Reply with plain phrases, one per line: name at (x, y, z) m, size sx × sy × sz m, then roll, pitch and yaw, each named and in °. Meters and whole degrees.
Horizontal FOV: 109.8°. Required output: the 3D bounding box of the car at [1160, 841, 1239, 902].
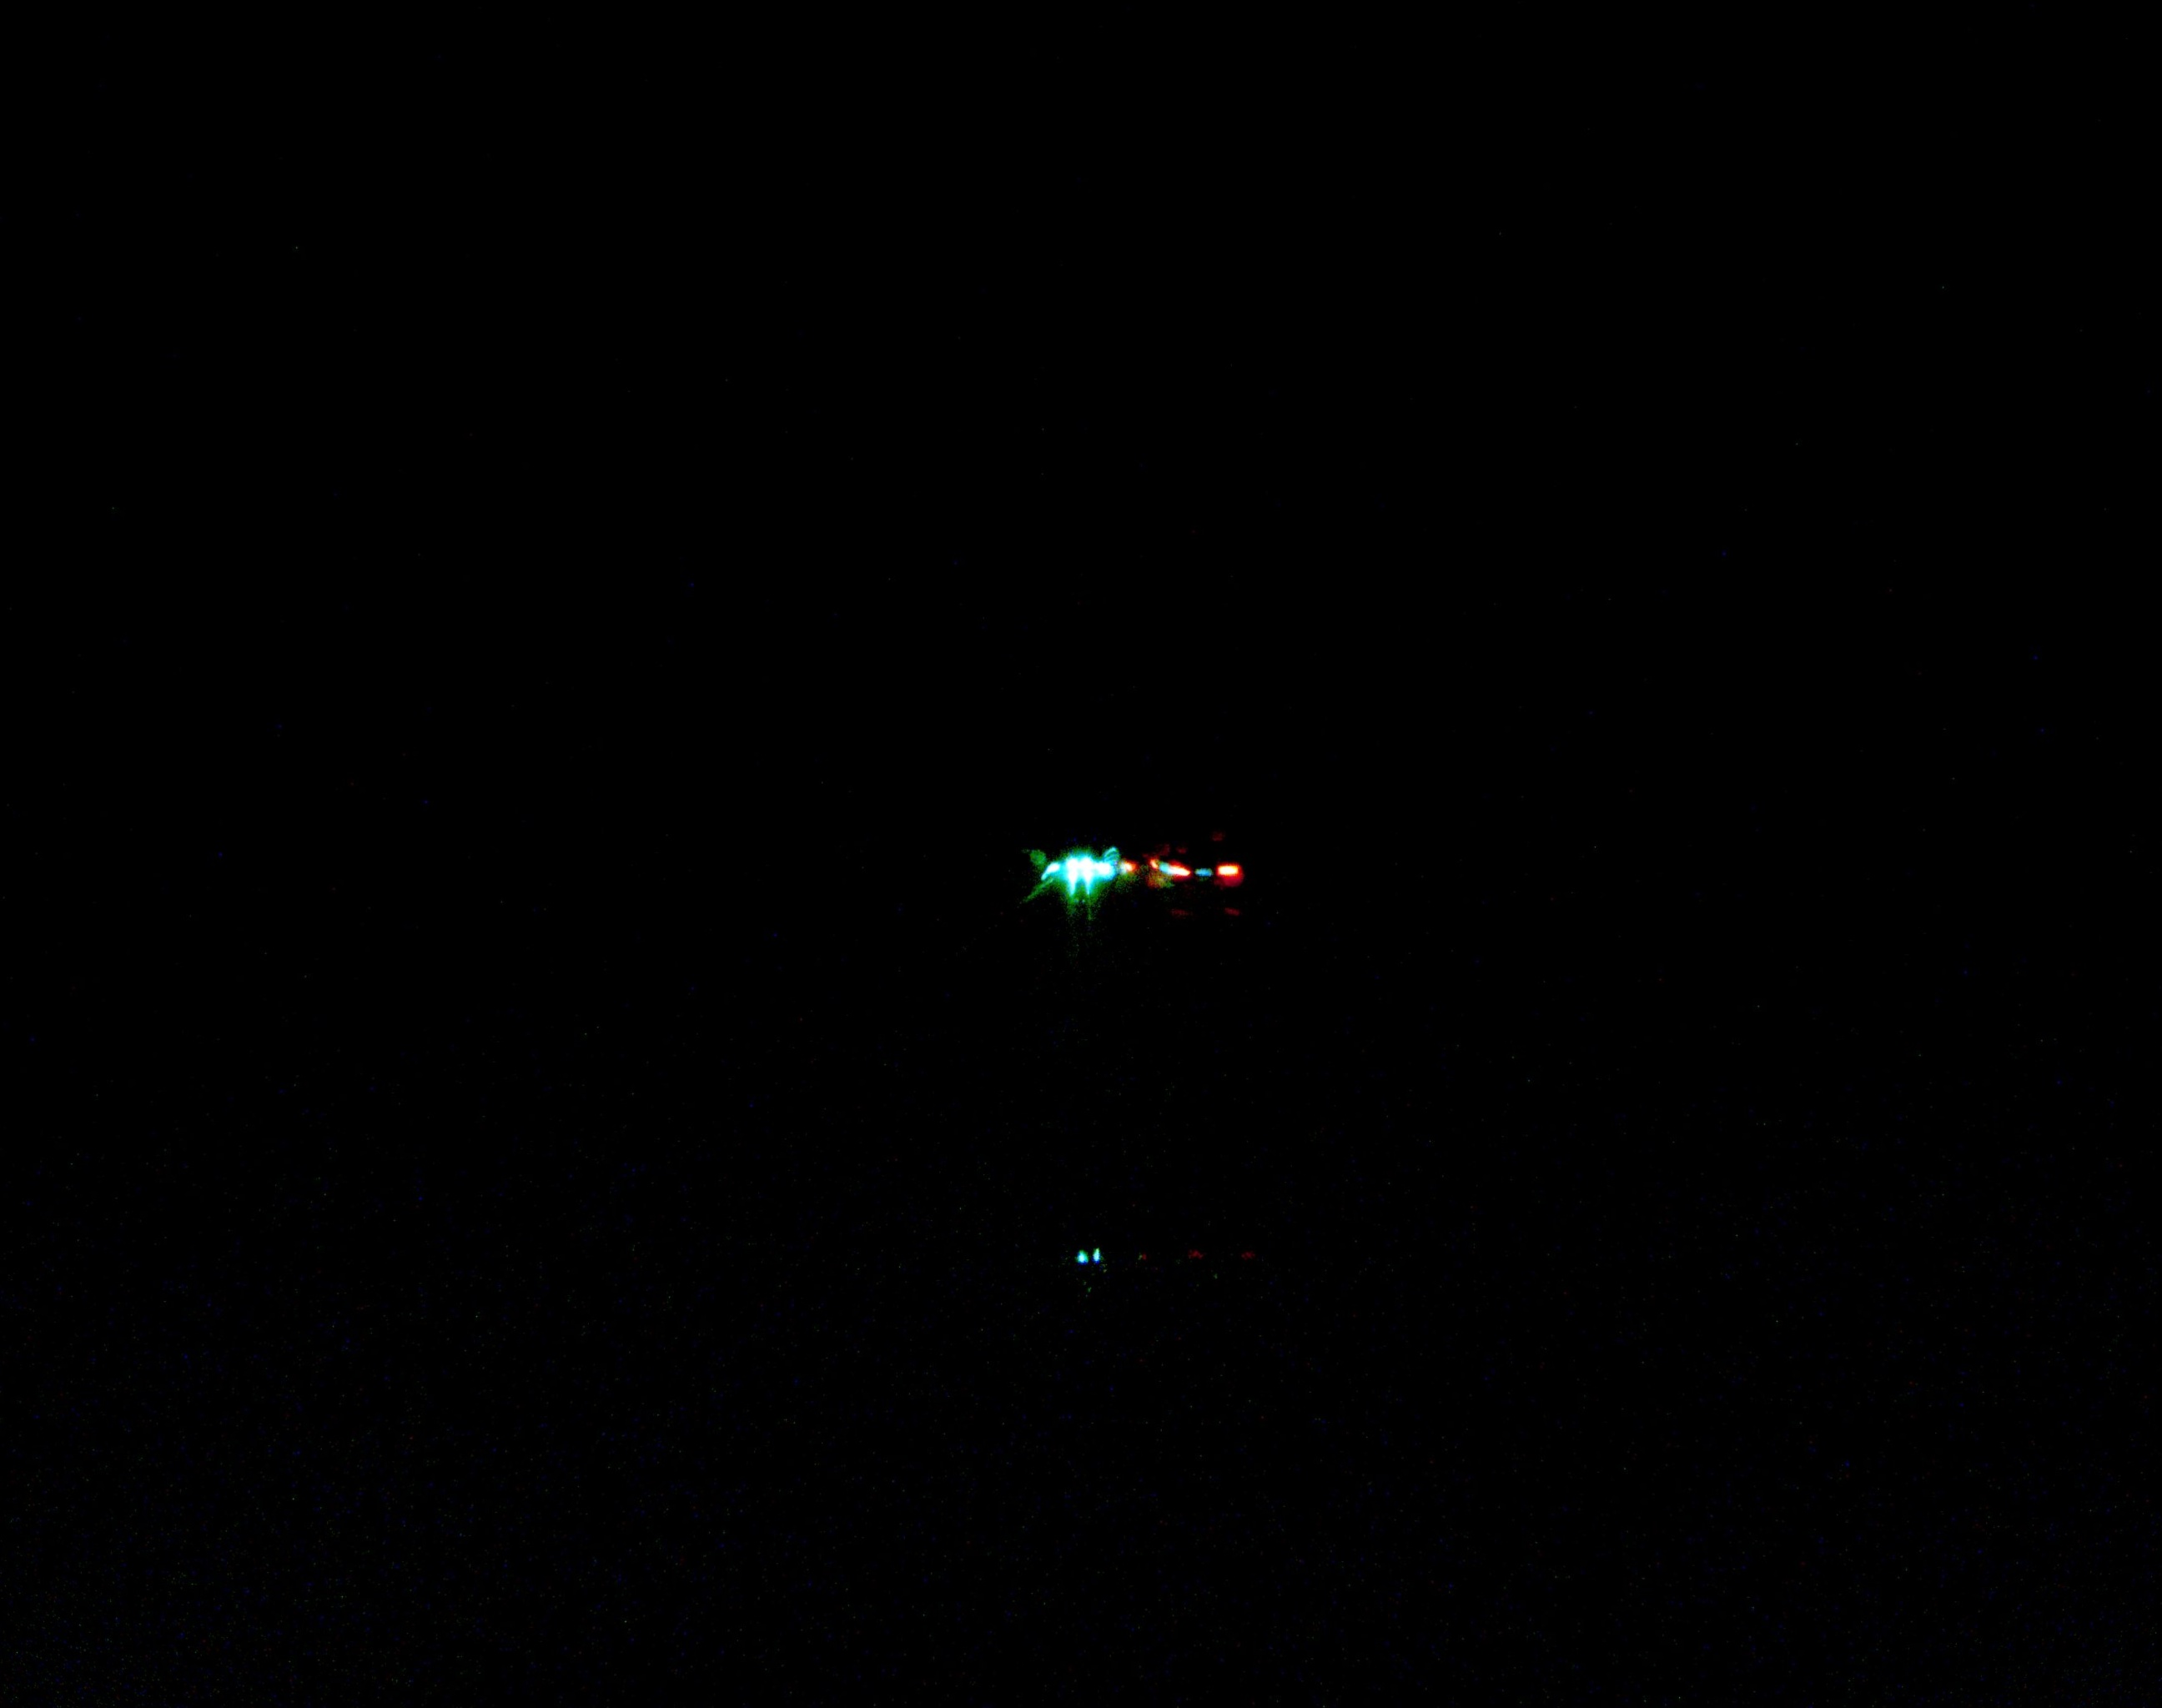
car at (3.870, 0.522, 25.519) m, size 1.998 × 1.782 × 4.246 m, roll -2°, pitch 0°, yaw 1°

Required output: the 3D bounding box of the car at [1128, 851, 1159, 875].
car at (4.183, 0.601, 51.289) m, size 1.848 × 1.471 × 4.249 m, roll -2°, pitch 0°, yaw 2°

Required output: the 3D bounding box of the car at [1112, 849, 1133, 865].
car at (4.336, 0.297, 79.495) m, size 1.998 × 1.467 × 3.924 m, roll -2°, pitch 0°, yaw 1°

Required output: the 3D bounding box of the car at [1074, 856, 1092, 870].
car at (0.244, 0.952, 84.801) m, size 1.807 × 1.452 × 4.276 m, roll -3°, pitch 0°, yaw 1°
